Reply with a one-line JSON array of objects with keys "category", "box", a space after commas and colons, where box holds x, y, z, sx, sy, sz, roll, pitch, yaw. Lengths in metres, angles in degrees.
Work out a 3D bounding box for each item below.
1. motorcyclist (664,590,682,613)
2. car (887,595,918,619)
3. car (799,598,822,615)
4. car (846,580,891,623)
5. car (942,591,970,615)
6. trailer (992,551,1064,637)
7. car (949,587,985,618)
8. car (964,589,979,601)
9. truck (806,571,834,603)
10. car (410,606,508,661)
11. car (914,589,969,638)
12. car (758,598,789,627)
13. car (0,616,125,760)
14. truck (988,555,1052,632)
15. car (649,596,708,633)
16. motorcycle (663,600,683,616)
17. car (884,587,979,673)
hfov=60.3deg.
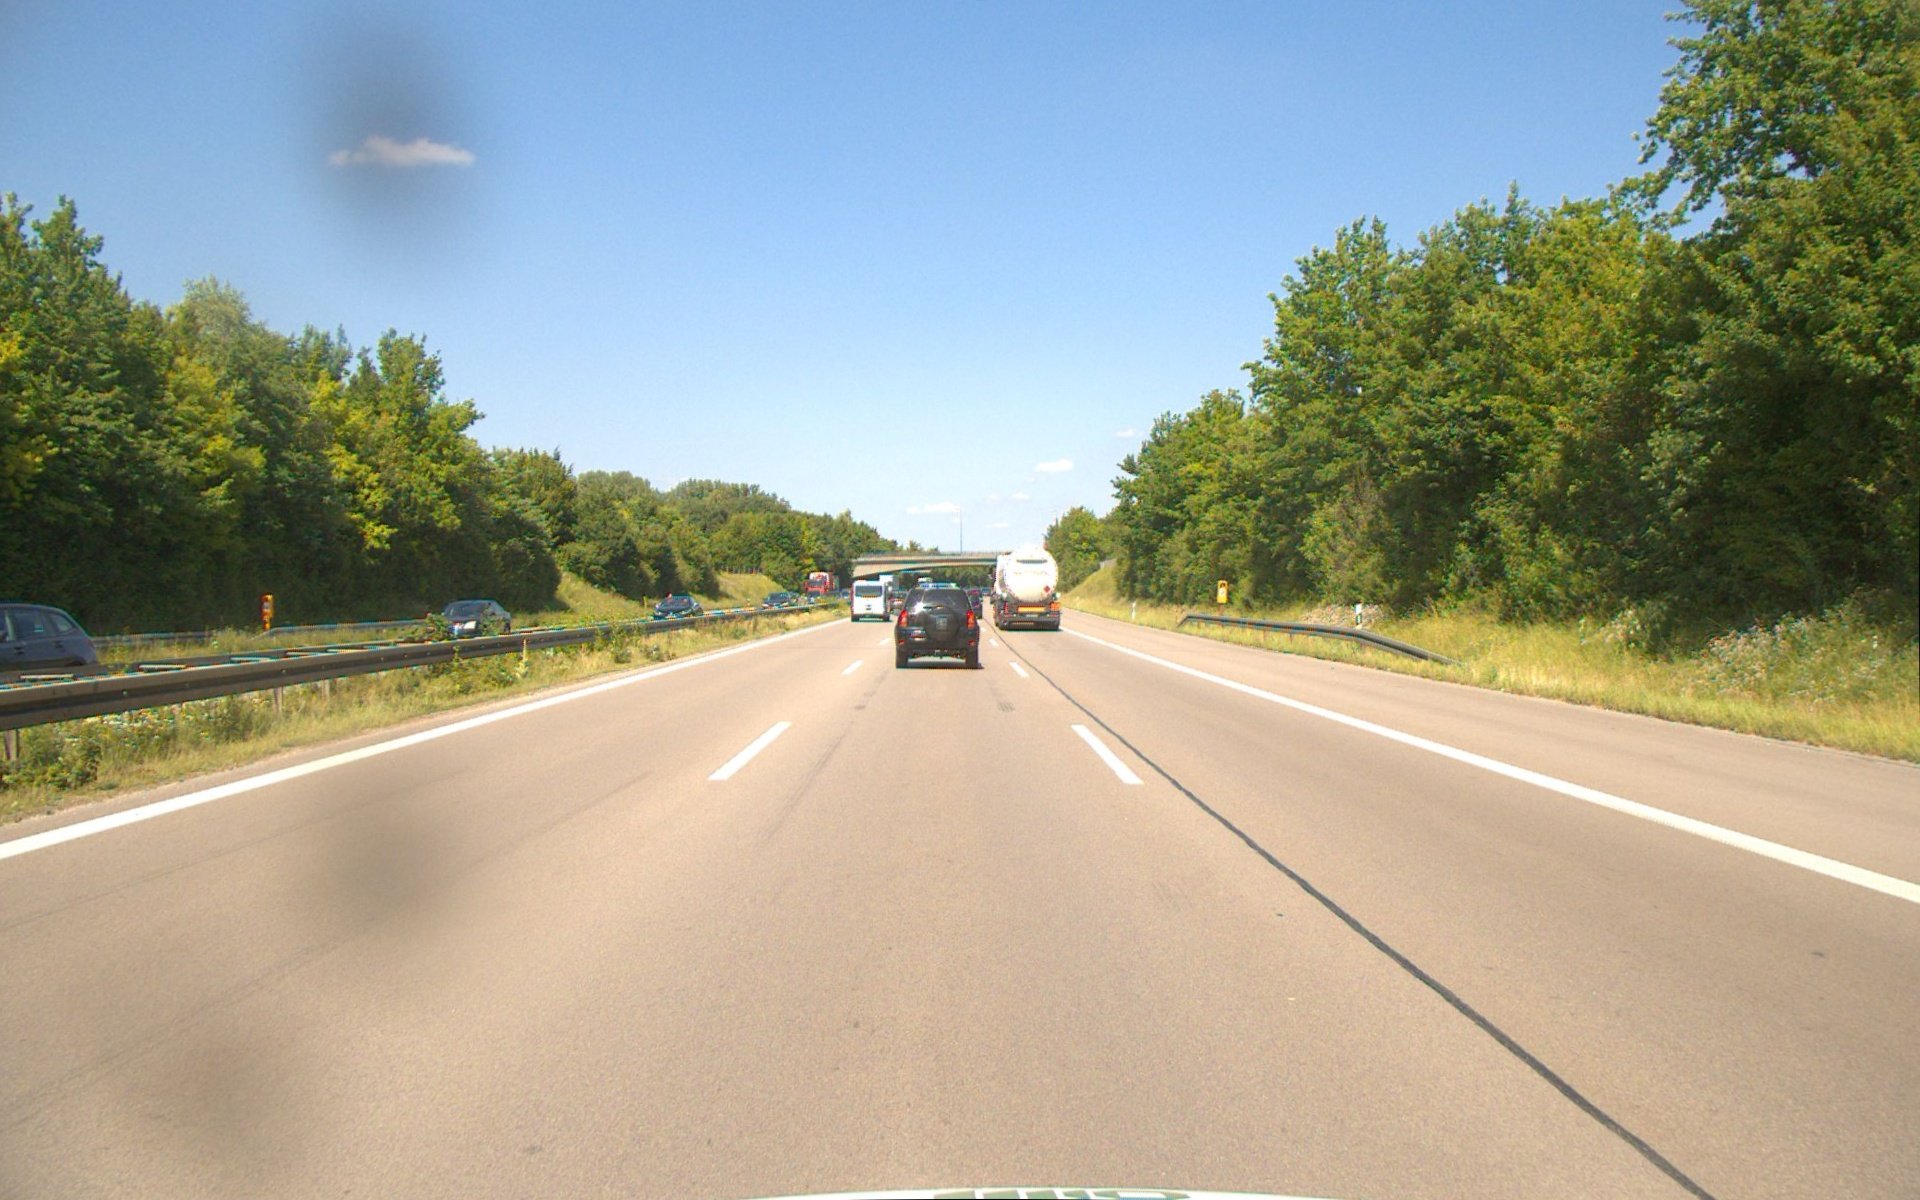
[{"category": "motorcyclist", "box": [-19.207, 0.084, 110.689, 0.921, 1.469, 1.356, -1, 0, -2]}, {"category": "car", "box": [-3.819, 0.497, 110.962, 1.953, 1.579, 3.999, -1, -1, -1]}, {"category": "car", "box": [-15.531, 0.656, 171.675, 1.953, 1.658, 4.575, -1, 0, 0]}, {"category": "car", "box": [-4.651, 0.070, 85.039, 1.953, 2.049, 4.950, -2, 0, 0]}, {"category": "car", "box": [-0.299, 0.182, 128.166, 1.952, 1.780, 4.206, -1, 0, 2]}, {"category": "trailer", "box": [2.883, -0.274, 72.551, 2.594, 3.449, 11.150, 0, 0, -1]}, {"category": "car", "box": [0.436, 0.174, 95.560, 1.952, 1.713, 4.001, -1, -1, 2]}, {"category": "car", "box": [1.595, -0.721, 231.123, 1.953, 1.601, 3.999, -2, 0, -1]}, {"category": "truck", "box": [-17.869, -1.703, 211.533, 2.624, 3.835, 9.919, -2, 0, 0]}, {"category": "car", "box": [-16.047, 1.051, 53.191, 1.829, 1.612, 4.557, -1, 0, -1]}, {"category": "car", "box": [-0.693, 0.487, 62.203, 1.953, 1.735, 4.335, -2, 0, 0]}, {"category": "car", "box": [-12.733, 0.827, 113.012, 1.656, 1.914, 5.017, -1, 0, -1]}, {"category": "car", "box": [-12.057, 1.047, 19.693, 1.953, 1.626, 4.591, -1, 0, -1]}, {"category": "truck", "box": [2.747, -0.311, 77.399, 2.584, 3.433, 6.485, 0, 0, -2]}, {"category": "car", "box": [-12.533, 0.606, 73.930, 1.953, 1.547, 4.426, -1, 0, -1]}, {"category": "motorcycle", "box": [-19.207, 0.523, 110.618, 0.916, 1.035, 2.654, -1, 0, -1]}, {"category": "car", "box": [-0.548, 0.598, 35.231, 1.867, 1.694, 4.001, -1, 0, 1]}]
